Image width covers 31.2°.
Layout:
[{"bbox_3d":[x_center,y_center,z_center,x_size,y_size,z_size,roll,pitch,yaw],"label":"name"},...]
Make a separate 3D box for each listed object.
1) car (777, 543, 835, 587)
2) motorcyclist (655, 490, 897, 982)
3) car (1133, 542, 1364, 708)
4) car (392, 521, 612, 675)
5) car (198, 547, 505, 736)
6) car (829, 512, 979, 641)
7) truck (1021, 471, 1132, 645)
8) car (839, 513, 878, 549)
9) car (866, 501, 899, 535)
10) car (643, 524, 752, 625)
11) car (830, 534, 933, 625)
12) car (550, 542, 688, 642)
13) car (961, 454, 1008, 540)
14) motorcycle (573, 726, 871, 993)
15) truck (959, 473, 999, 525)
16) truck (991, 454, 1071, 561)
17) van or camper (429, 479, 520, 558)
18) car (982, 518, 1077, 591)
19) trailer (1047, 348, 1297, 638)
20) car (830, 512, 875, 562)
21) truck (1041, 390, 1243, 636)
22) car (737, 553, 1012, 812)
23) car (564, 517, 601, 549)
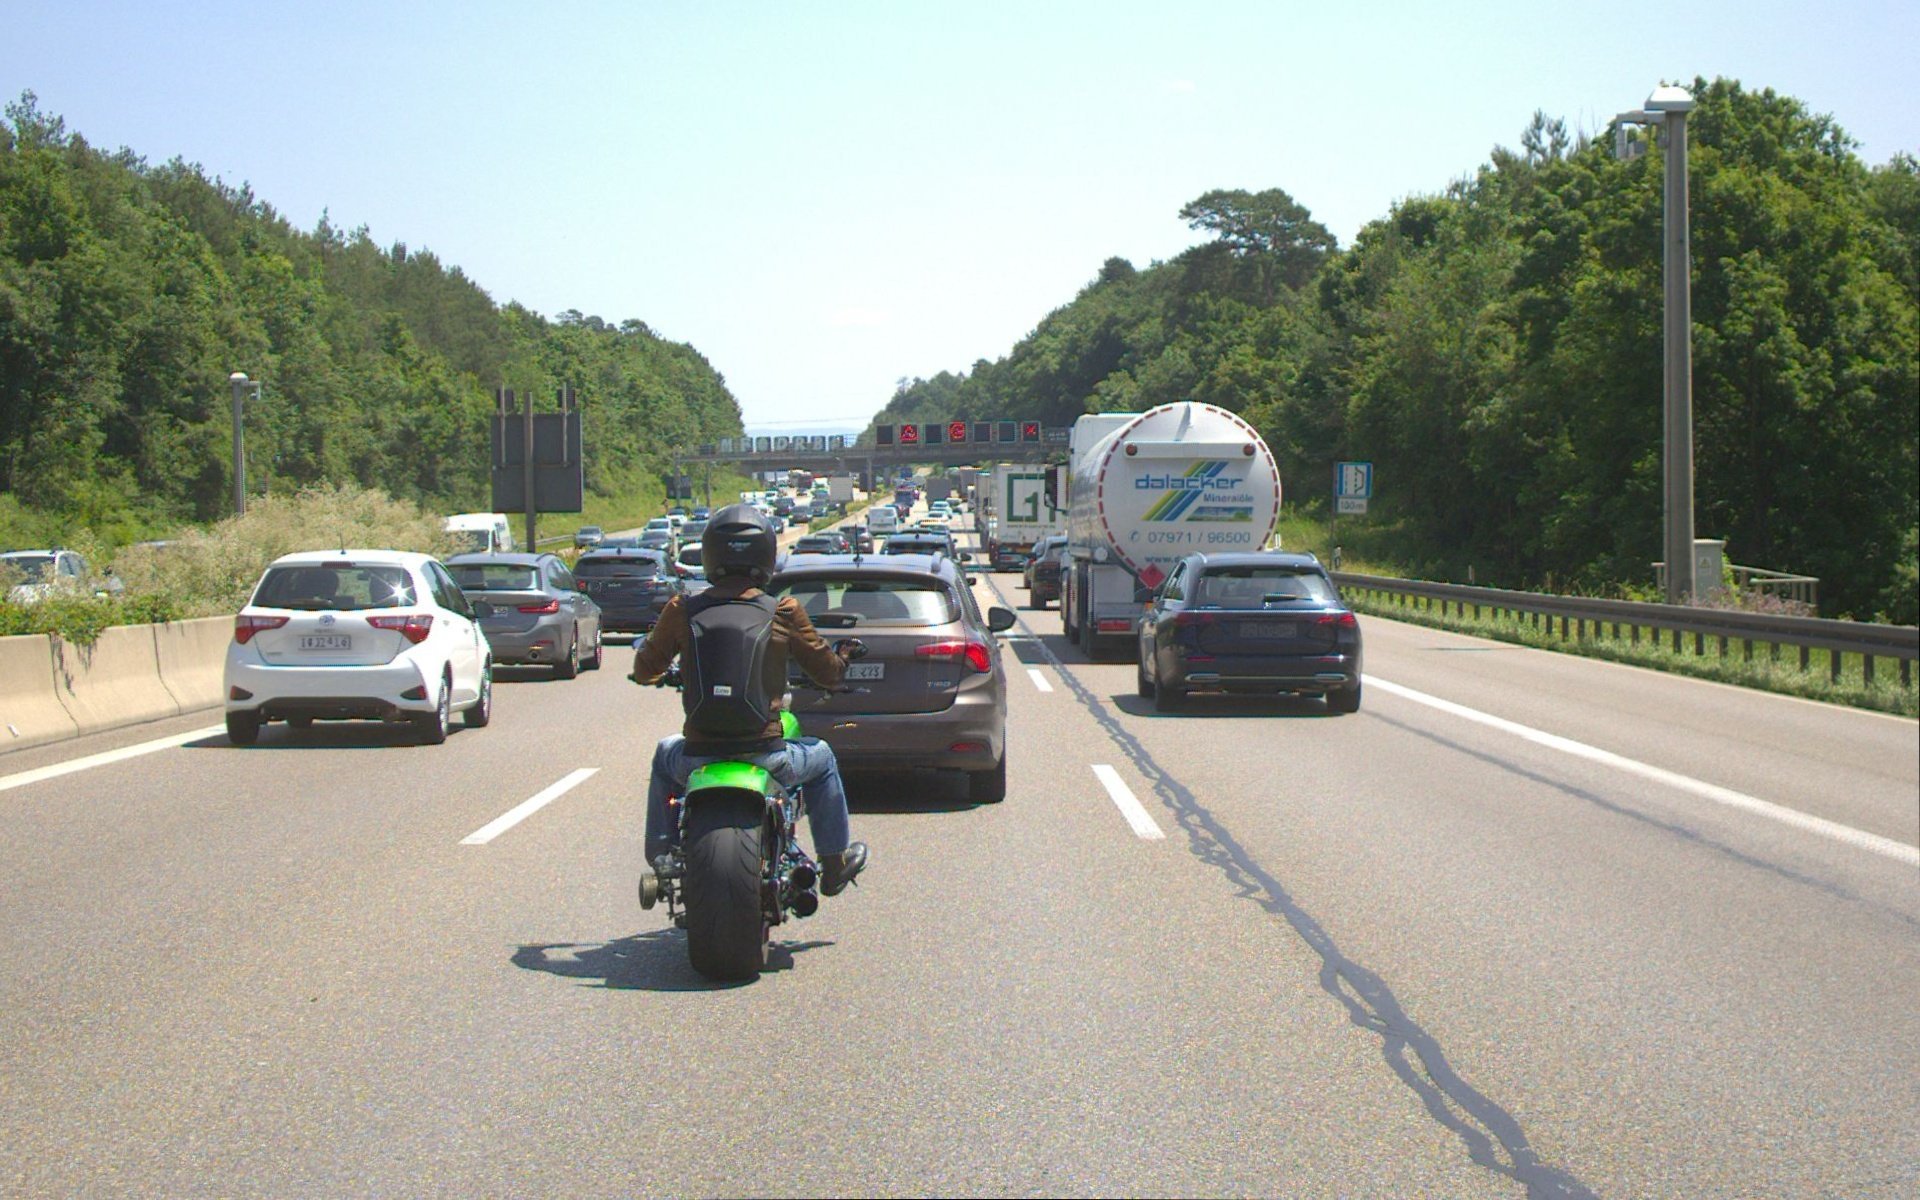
[{"bbox_3d":[-5.237,-1.211,117.065,1.764,1.437,4.000,1,1,0],"label":"car"},{"bbox_3d":[-0.642,0.470,12.334,0.799,1.682,1.016,1,-1,0],"label":"motorcyclist"},{"bbox_3d":[2.669,0.239,32.729,1.792,1.453,4.624,1,0,0],"label":"car"},{"bbox_3d":[-5.273,-0.008,40.093,1.993,1.678,4.330,1,0,0],"label":"car"},{"bbox_3d":[-4.825,0.297,27.778,1.776,1.406,4.000,1,0,0],"label":"car"},{"bbox_3d":[-0.784,-0.304,47.920,1.993,1.705,4.000,1,0,-1],"label":"car"},{"bbox_3d":[3.082,-1.181,93.372,2.388,4.449,10.870,0,1,-1],"label":"truck"},{"bbox_3d":[-4.694,-3.195,159.600,1.660,1.594,4.000,0,0,0],"label":"car"},{"bbox_3d":[-4.858,-5.134,215.354,1.993,2.007,4.000,-1,0,0],"label":"car"},{"bbox_3d":[-5.410,-0.500,71.222,1.993,2.007,4.000,1,0,-1],"label":"car"},{"bbox_3d":[-1.570,-0.392,69.121,1.993,1.769,4.000,1,0,-1],"label":"car"},{"bbox_3d":[-5.196,-0.104,52.812,1.993,1.459,4.000,1,0,-4],"label":"car"},{"bbox_3d":[1.168,-5.009,169.727,2.167,3.879,9.330,1,0,0],"label":"car"},{"bbox_3d":[-0.827,0.909,12.651,0.936,0.790,2.299,1,0,0],"label":"motorcycle"},{"bbox_3d":[1.289,-7.005,240.073,2.696,3.394,10.478,-1,0,0],"label":"truck"},{"bbox_3d":[2.747,-3.469,131.087,2.854,3.808,7.187,1,0,3],"label":"truck"},{"bbox_3d":[-16.149,-2.679,114.576,2.152,2.414,6.196,1,0,0],"label":"van or camper"},{"bbox_3d":[1.509,-0.982,76.264,1.775,1.522,4.000,1,0,-4],"label":"car"},{"bbox_3d":[2.825,-1.323,48.937,2.828,3.659,10.732,1,0,0],"label":"trailer"},{"bbox_3d":[-4.349,-2.523,139.028,1.660,1.971,4.000,0,0,0],"label":"car"},{"bbox_3d":[2.804,-1.282,54.731,2.828,3.659,6.429,1,0,0],"label":"truck"},{"bbox_3d":[-0.490,0.447,21.389,1.541,1.445,4.000,1,0,0],"label":"car"},{"bbox_3d":[-24.158,-4.281,220.006,1.993,2.007,4.000,0,1,-1],"label":"car"}]
